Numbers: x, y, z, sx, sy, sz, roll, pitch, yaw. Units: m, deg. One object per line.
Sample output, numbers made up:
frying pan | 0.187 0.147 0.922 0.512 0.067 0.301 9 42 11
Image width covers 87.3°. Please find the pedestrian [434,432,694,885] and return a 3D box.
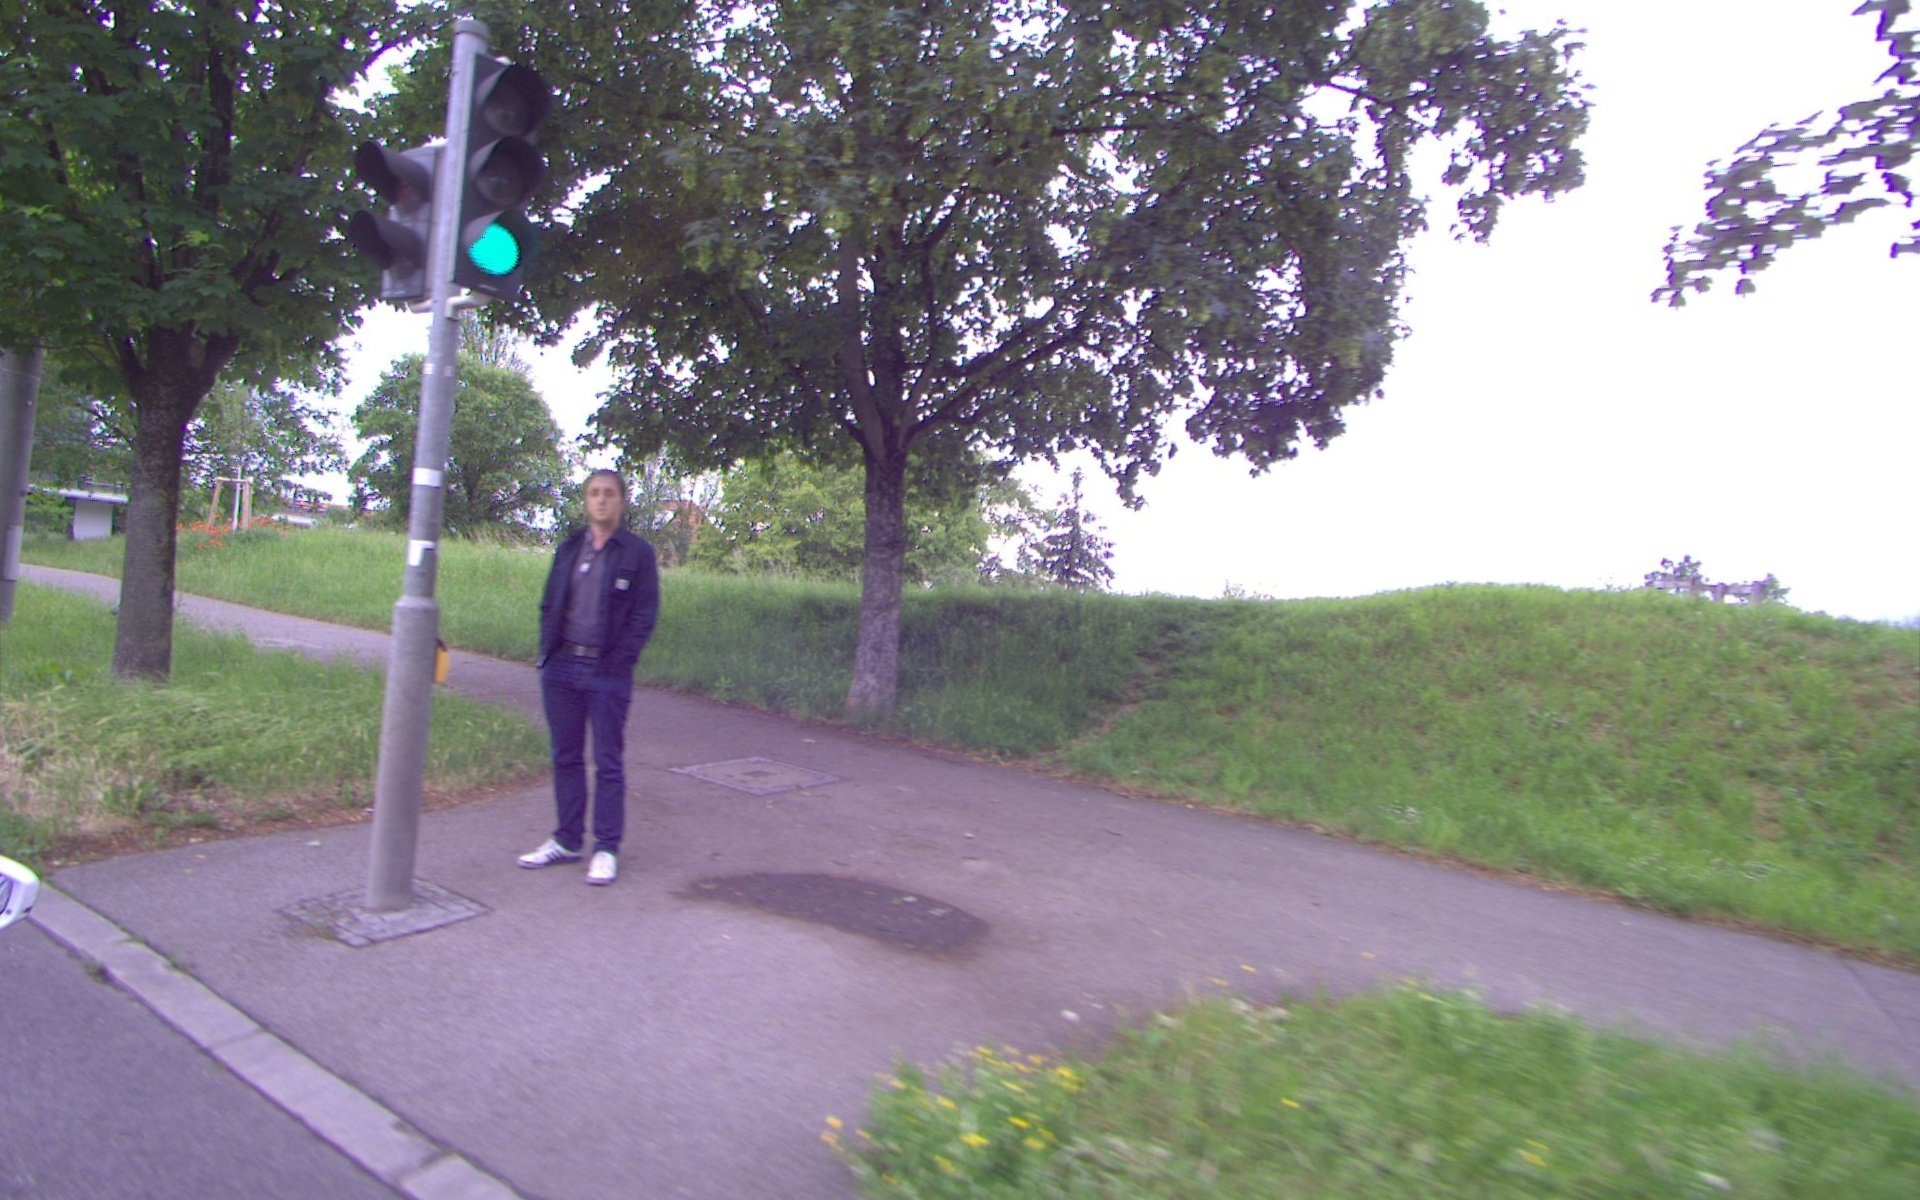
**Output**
pedestrian | -1.811 0.245 4.640 0.661 1.879 0.644 8 1 26
